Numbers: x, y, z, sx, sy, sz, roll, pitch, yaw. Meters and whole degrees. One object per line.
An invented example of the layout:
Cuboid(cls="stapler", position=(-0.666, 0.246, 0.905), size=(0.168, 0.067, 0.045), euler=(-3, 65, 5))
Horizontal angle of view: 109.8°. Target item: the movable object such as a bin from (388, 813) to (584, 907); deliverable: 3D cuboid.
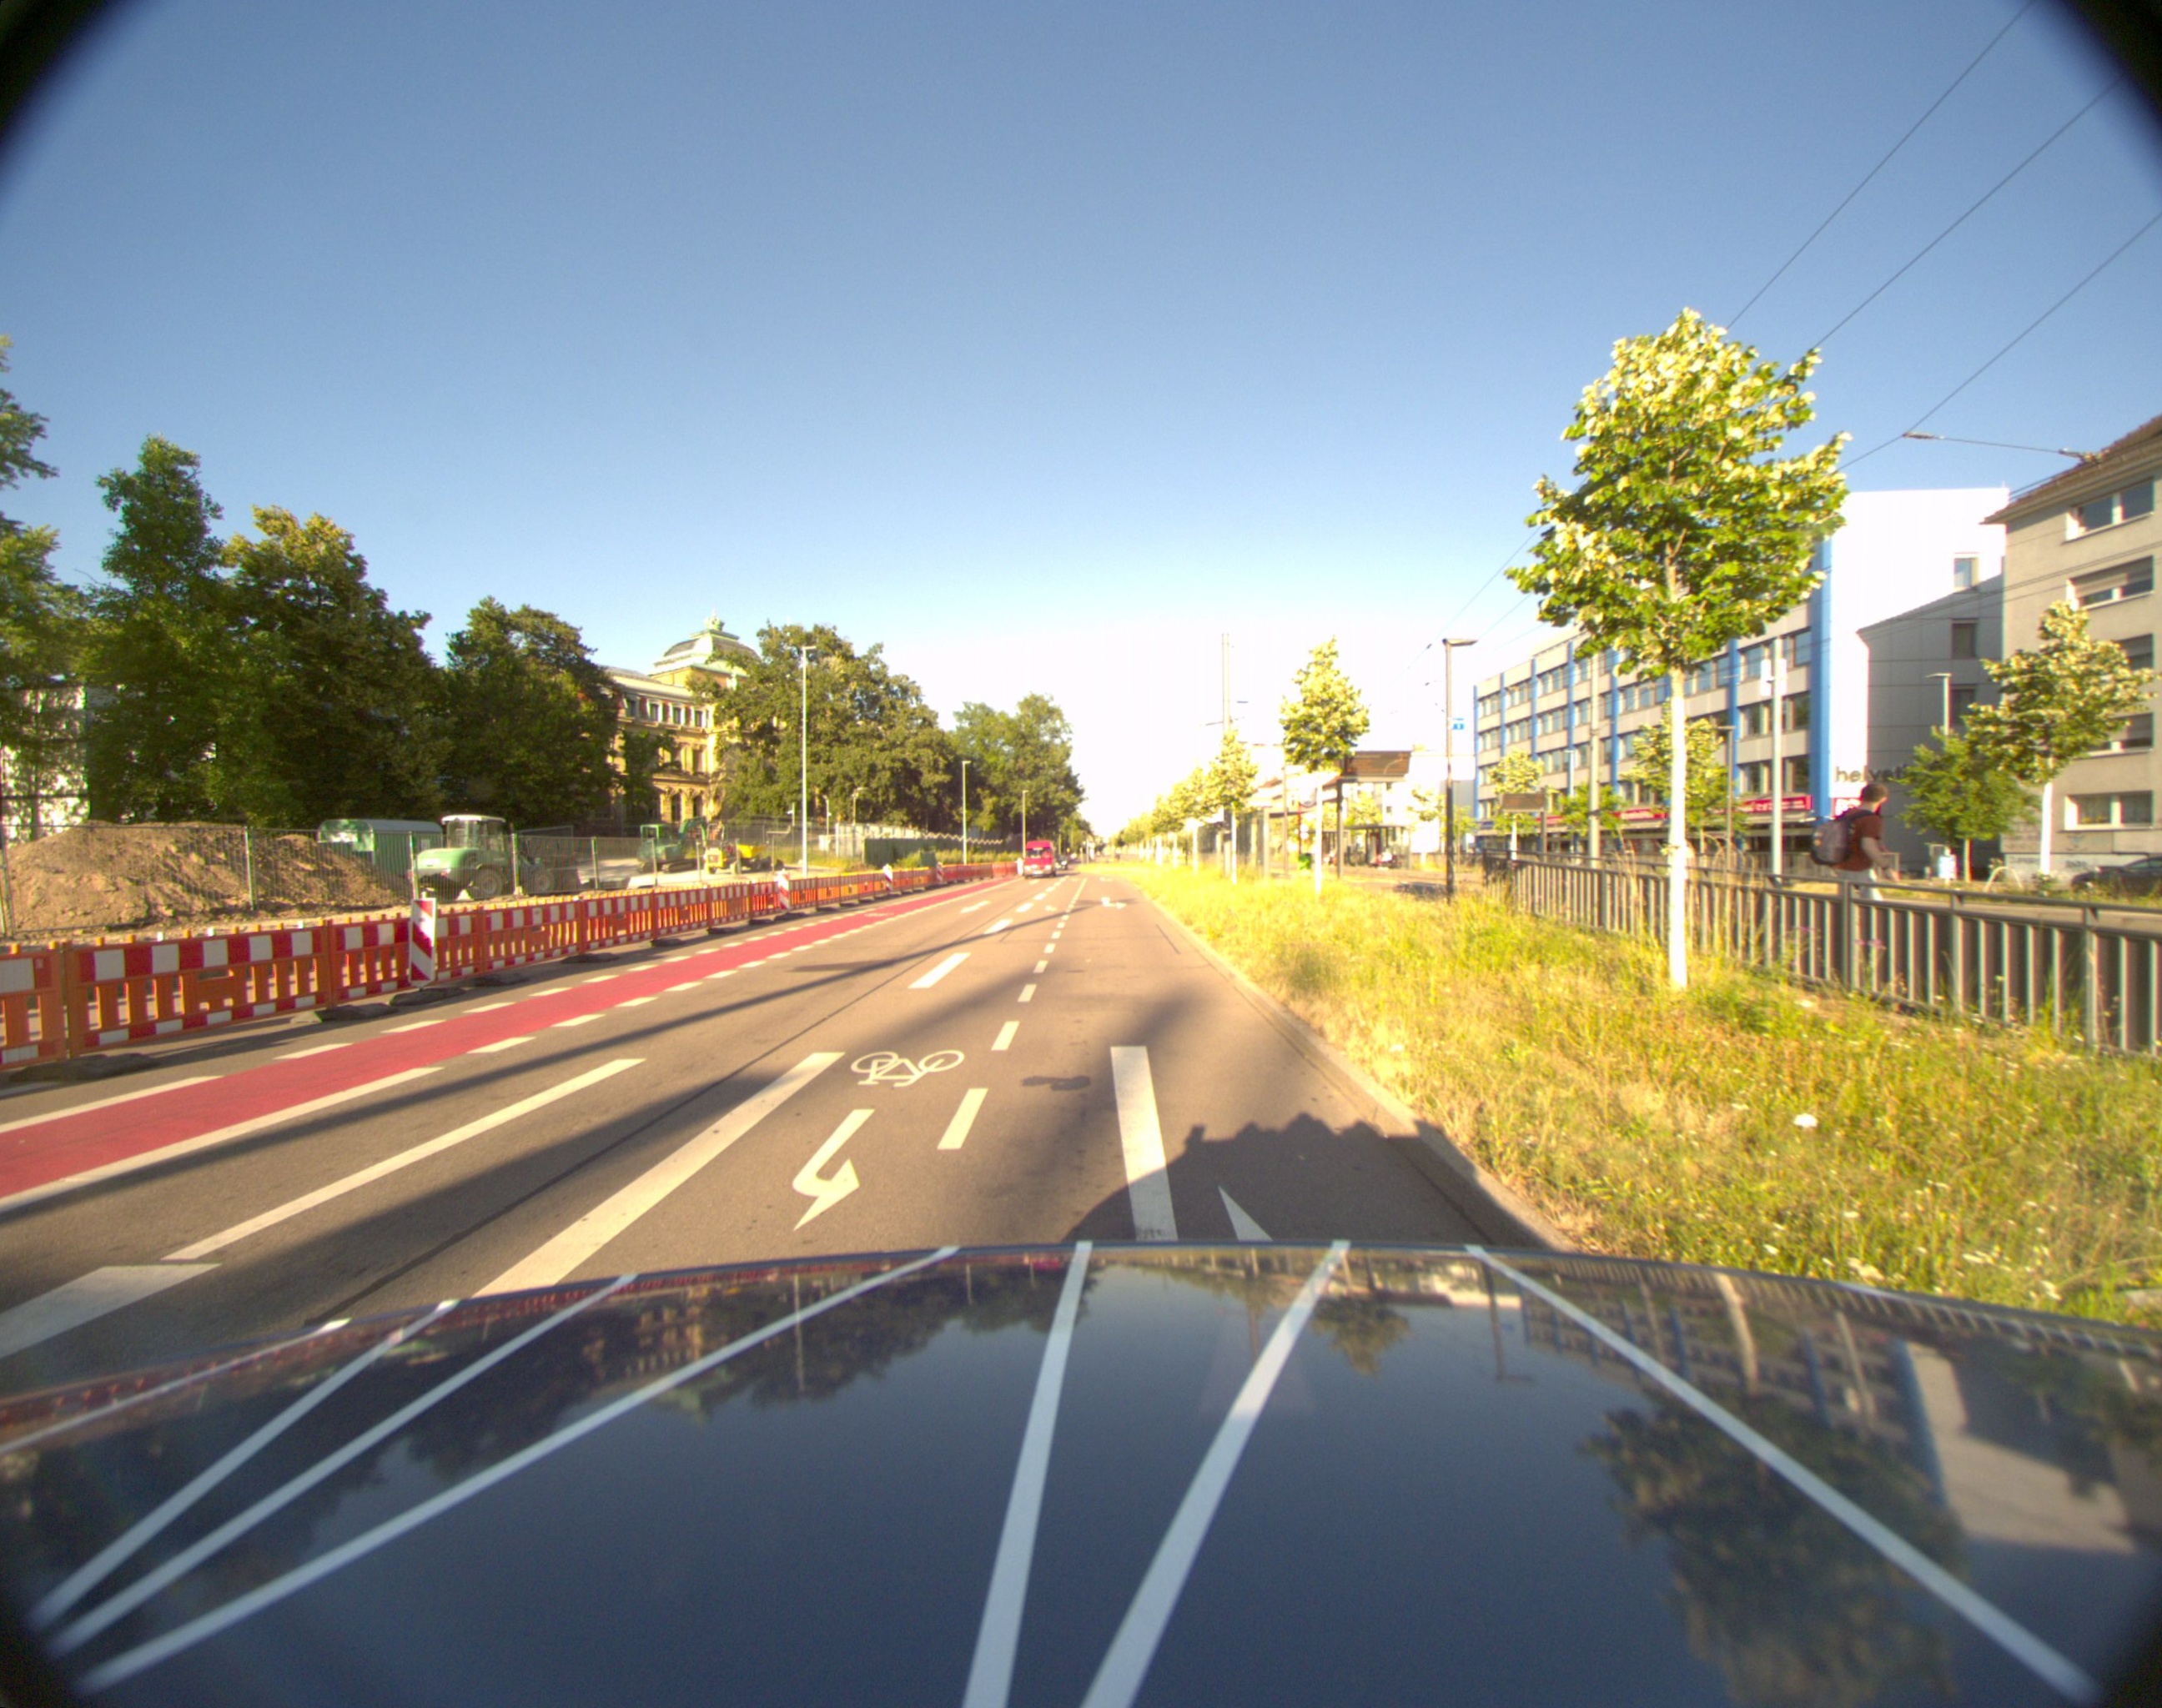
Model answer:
Cuboid(cls="movable object such as a bin", position=(-19.043, 0.147, 24.733), size=(1.998, 2.668, 5.015), euler=(-2, 1, 5))

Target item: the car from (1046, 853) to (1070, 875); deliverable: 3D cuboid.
Cuboid(cls="car", position=(-2.200, 0.961, 73.771), size=(1.998, 2.002, 3.999), euler=(-2, 1, 1))

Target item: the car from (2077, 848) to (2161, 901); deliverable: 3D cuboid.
Cuboid(cls="car", position=(33.187, 0.606, 22.755), size=(1.886, 1.499, 3.674), euler=(-2, 1, 1))

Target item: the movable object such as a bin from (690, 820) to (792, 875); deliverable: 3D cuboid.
Cuboid(cls="movable object such as a bin", position=(-18.644, -0.387, 42.086), size=(1.997, 2.800, 5.871), euler=(-2, 1, 11))

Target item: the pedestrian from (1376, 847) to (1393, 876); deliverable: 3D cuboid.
Cuboid(cls="pedestrian", position=(18.244, 0.438, 45.637), size=(0.660, 1.682, 0.772), euler=(-2, 1, -1))

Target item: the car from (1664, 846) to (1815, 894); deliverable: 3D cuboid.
Cuboid(cls="car", position=(22.821, 0.497, 26.554), size=(1.886, 1.499, 3.942), euler=(-2, 1, 1))

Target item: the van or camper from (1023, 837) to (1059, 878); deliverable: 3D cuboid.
Cuboid(cls="van or camper", position=(-2.674, 0.191, 51.831), size=(1.998, 2.514, 5.913), euler=(-2, 1, 1))

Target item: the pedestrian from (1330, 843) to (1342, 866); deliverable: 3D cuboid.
Cuboid(cls="pedestrian", position=(18.624, 0.032, 55.553), size=(0.659, 1.682, 0.772), euler=(-2, 1, 7))

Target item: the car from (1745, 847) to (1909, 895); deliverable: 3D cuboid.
Cuboid(cls="car", position=(25.995, 0.529, 26.695), size=(1.886, 1.499, 3.942), euler=(-2, 1, 1))

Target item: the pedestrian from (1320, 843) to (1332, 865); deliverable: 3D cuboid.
Cuboid(cls="pedestrian", position=(18.668, 0.003, 57.859), size=(0.659, 1.682, 0.772), euler=(-2, 1, 4))

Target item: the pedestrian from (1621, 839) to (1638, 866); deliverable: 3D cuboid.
Cuboid(cls="pedestrian", position=(36.546, -0.086, 50.623), size=(0.645, 1.736, 0.599), euler=(-2, 1, 7))

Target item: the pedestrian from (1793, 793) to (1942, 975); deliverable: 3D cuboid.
Cuboid(cls="pedestrian", position=(7.676, 0.284, 7.447), size=(0.787, 1.689, 0.619), euler=(-2, 1, 4))

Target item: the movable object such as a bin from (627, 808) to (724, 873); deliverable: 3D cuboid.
Cuboid(cls="movable object such as a bin", position=(-22.424, -0.724, 42.321), size=(1.998, 3.310, 5.376), euler=(-2, 1, 5))

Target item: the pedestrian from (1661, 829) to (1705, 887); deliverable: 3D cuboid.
Cuboid(cls="pedestrian", position=(17.927, 0.110, 22.636), size=(0.787, 1.663, 0.619), euler=(-2, 1, 4))
